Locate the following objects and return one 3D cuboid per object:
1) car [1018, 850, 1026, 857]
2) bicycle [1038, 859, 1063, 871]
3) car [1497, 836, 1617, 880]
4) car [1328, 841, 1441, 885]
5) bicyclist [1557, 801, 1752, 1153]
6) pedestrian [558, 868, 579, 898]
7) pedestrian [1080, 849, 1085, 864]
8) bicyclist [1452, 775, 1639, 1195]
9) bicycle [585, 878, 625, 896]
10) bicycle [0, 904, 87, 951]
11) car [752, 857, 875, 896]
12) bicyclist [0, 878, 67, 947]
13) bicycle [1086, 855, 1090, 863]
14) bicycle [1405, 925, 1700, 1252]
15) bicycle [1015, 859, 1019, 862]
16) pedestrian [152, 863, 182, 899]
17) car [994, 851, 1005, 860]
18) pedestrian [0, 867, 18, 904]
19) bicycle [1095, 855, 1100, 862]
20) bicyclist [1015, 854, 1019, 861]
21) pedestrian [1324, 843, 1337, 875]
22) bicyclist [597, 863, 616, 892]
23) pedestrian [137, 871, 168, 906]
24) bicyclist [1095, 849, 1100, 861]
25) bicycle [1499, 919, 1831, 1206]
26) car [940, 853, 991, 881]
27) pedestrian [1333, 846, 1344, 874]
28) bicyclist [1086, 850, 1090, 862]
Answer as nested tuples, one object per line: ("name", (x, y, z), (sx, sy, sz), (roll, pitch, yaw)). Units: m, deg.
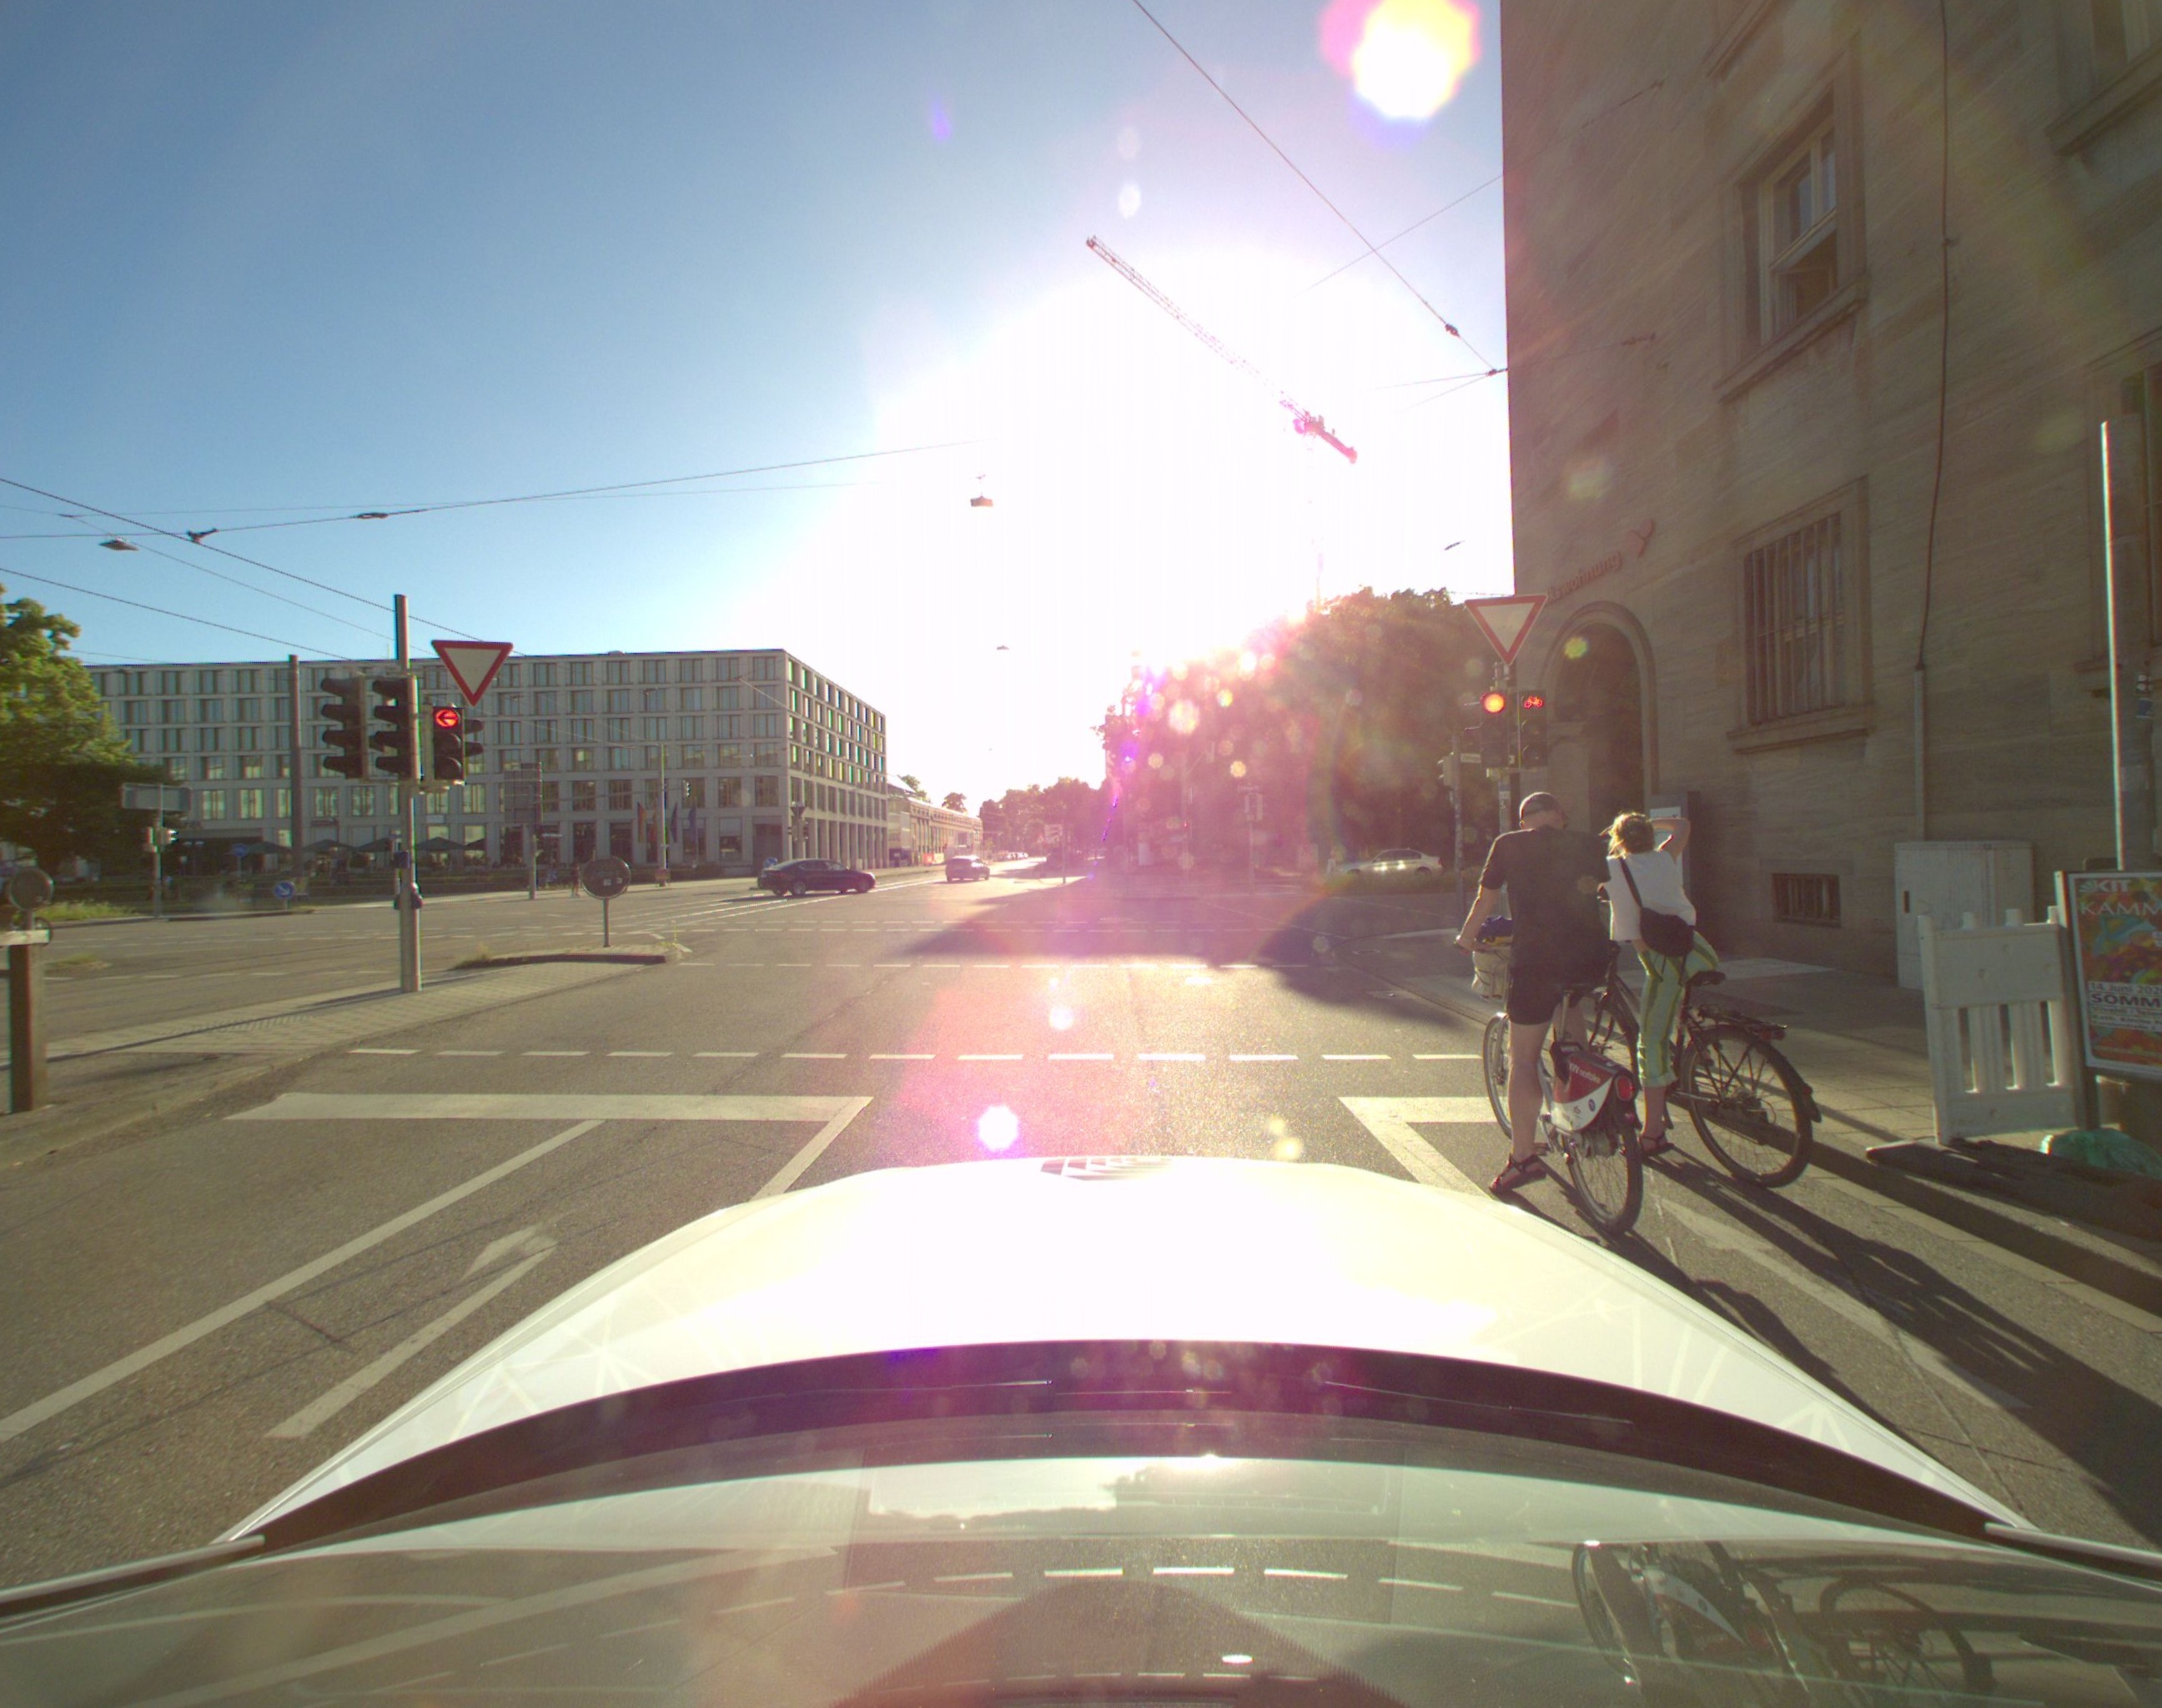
("car", (-14.231, -0.120, 195.328), (1.688, 1.718, 4.245), (0, -1, -1))
("bicycle", (-2.567, 0.907, 67.710), (1.996, 0.891, 0.655), (-4, -1, 29))
("car", (19.217, 0.148, 32.983), (3.835, 1.611, 1.650), (-2, 0, 1))
("car", (12.349, 0.354, 33.261), (3.979, 1.611, 1.650), (-2, 0, 1))
("bicyclist", (2.956, 0.594, 4.252), (0.556, 1.691, 0.640), (-1, 0, 0))
("pedestrian", (-28.689, 1.622, 45.584), (0.775, 1.589, 0.589), (-2, 0, -9))
("pedestrian", (0.183, 0.303, 98.422), (0.462, 1.813, 0.502), (-2, 0, -3))
("bicyclist", (2.125, 0.563, 3.785), (0.556, 1.799, 0.551), (-1, 0, 3))
("bicycle", (-27.370, 1.879, 46.838), (1.865, 0.935, 0.757), (-2, 0, -23))
("bicycle", (-22.914, 1.596, 17.747), (1.736, 0.935, 0.646), (-2, 0, 1))
("car", (-10.800, 0.879, 33.089), (4.457, 1.455, 1.645), (-1, 0, -44))
("bicyclist", (-22.889, 1.269, 17.741), (0.795, 1.450, 0.618), (-1, 0, 2))
("bicycle", (1.021, 0.652, 115.738), (0.573, 1.077, 1.831), (-2, 0, 1))
("bicycle", (2.123, 0.960, 3.942), (0.513, 1.077, 1.729), (-1, 0, 4))
("bicycle", (-11.530, 1.125, 146.426), (0.499, 0.515, 1.258), (0, -1, 1))
("pedestrian", (-51.339, 1.527, 45.749), (0.837, 2.014, 0.827), (-1, -1, 11))
("car", (-15.661, 0.263, 157.078), (1.688, 1.718, 4.245), (0, -1, -1))
("pedestrian", (-60.047, 1.741, 45.261), (0.838, 2.014, 0.826), (0, -1, 5))
("bicycle", (2.342, 0.643, 115.564), (0.573, 1.077, 1.831), (-2, 0, 1))
("bicyclist", (-11.524, 0.607, 146.471), (0.594, 1.377, 0.637), (0, -1, 0))
("pedestrian", (13.400, 0.272, 43.699), (0.580, 1.663, 0.515), (0, 1, 4))
("bicyclist", (-27.311, 1.351, 46.870), (0.778, 1.589, 0.756), (-2, 0, -22))
("pedestrian", (-50.843, 1.900, 44.610), (0.711, 1.900, 0.877), (-1, -1, 10))
("bicyclist", (2.332, 0.162, 115.600), (0.567, 1.691, 0.700), (-2, 0, 1))
("bicycle", (2.945, 0.961, 4.359), (0.532, 1.077, 1.751), (-1, 0, 1))
("car", (-6.871, 0.721, 48.859), (1.882, 1.565, 4.815), (1, 0, 6))
("pedestrian", (14.018, 0.325, 44.357), (0.437, 1.503, 0.437), (-2, 0, 3))
("bicyclist", (1.008, 0.251, 115.695), (0.567, 1.691, 0.700), (-2, 0, 1))
